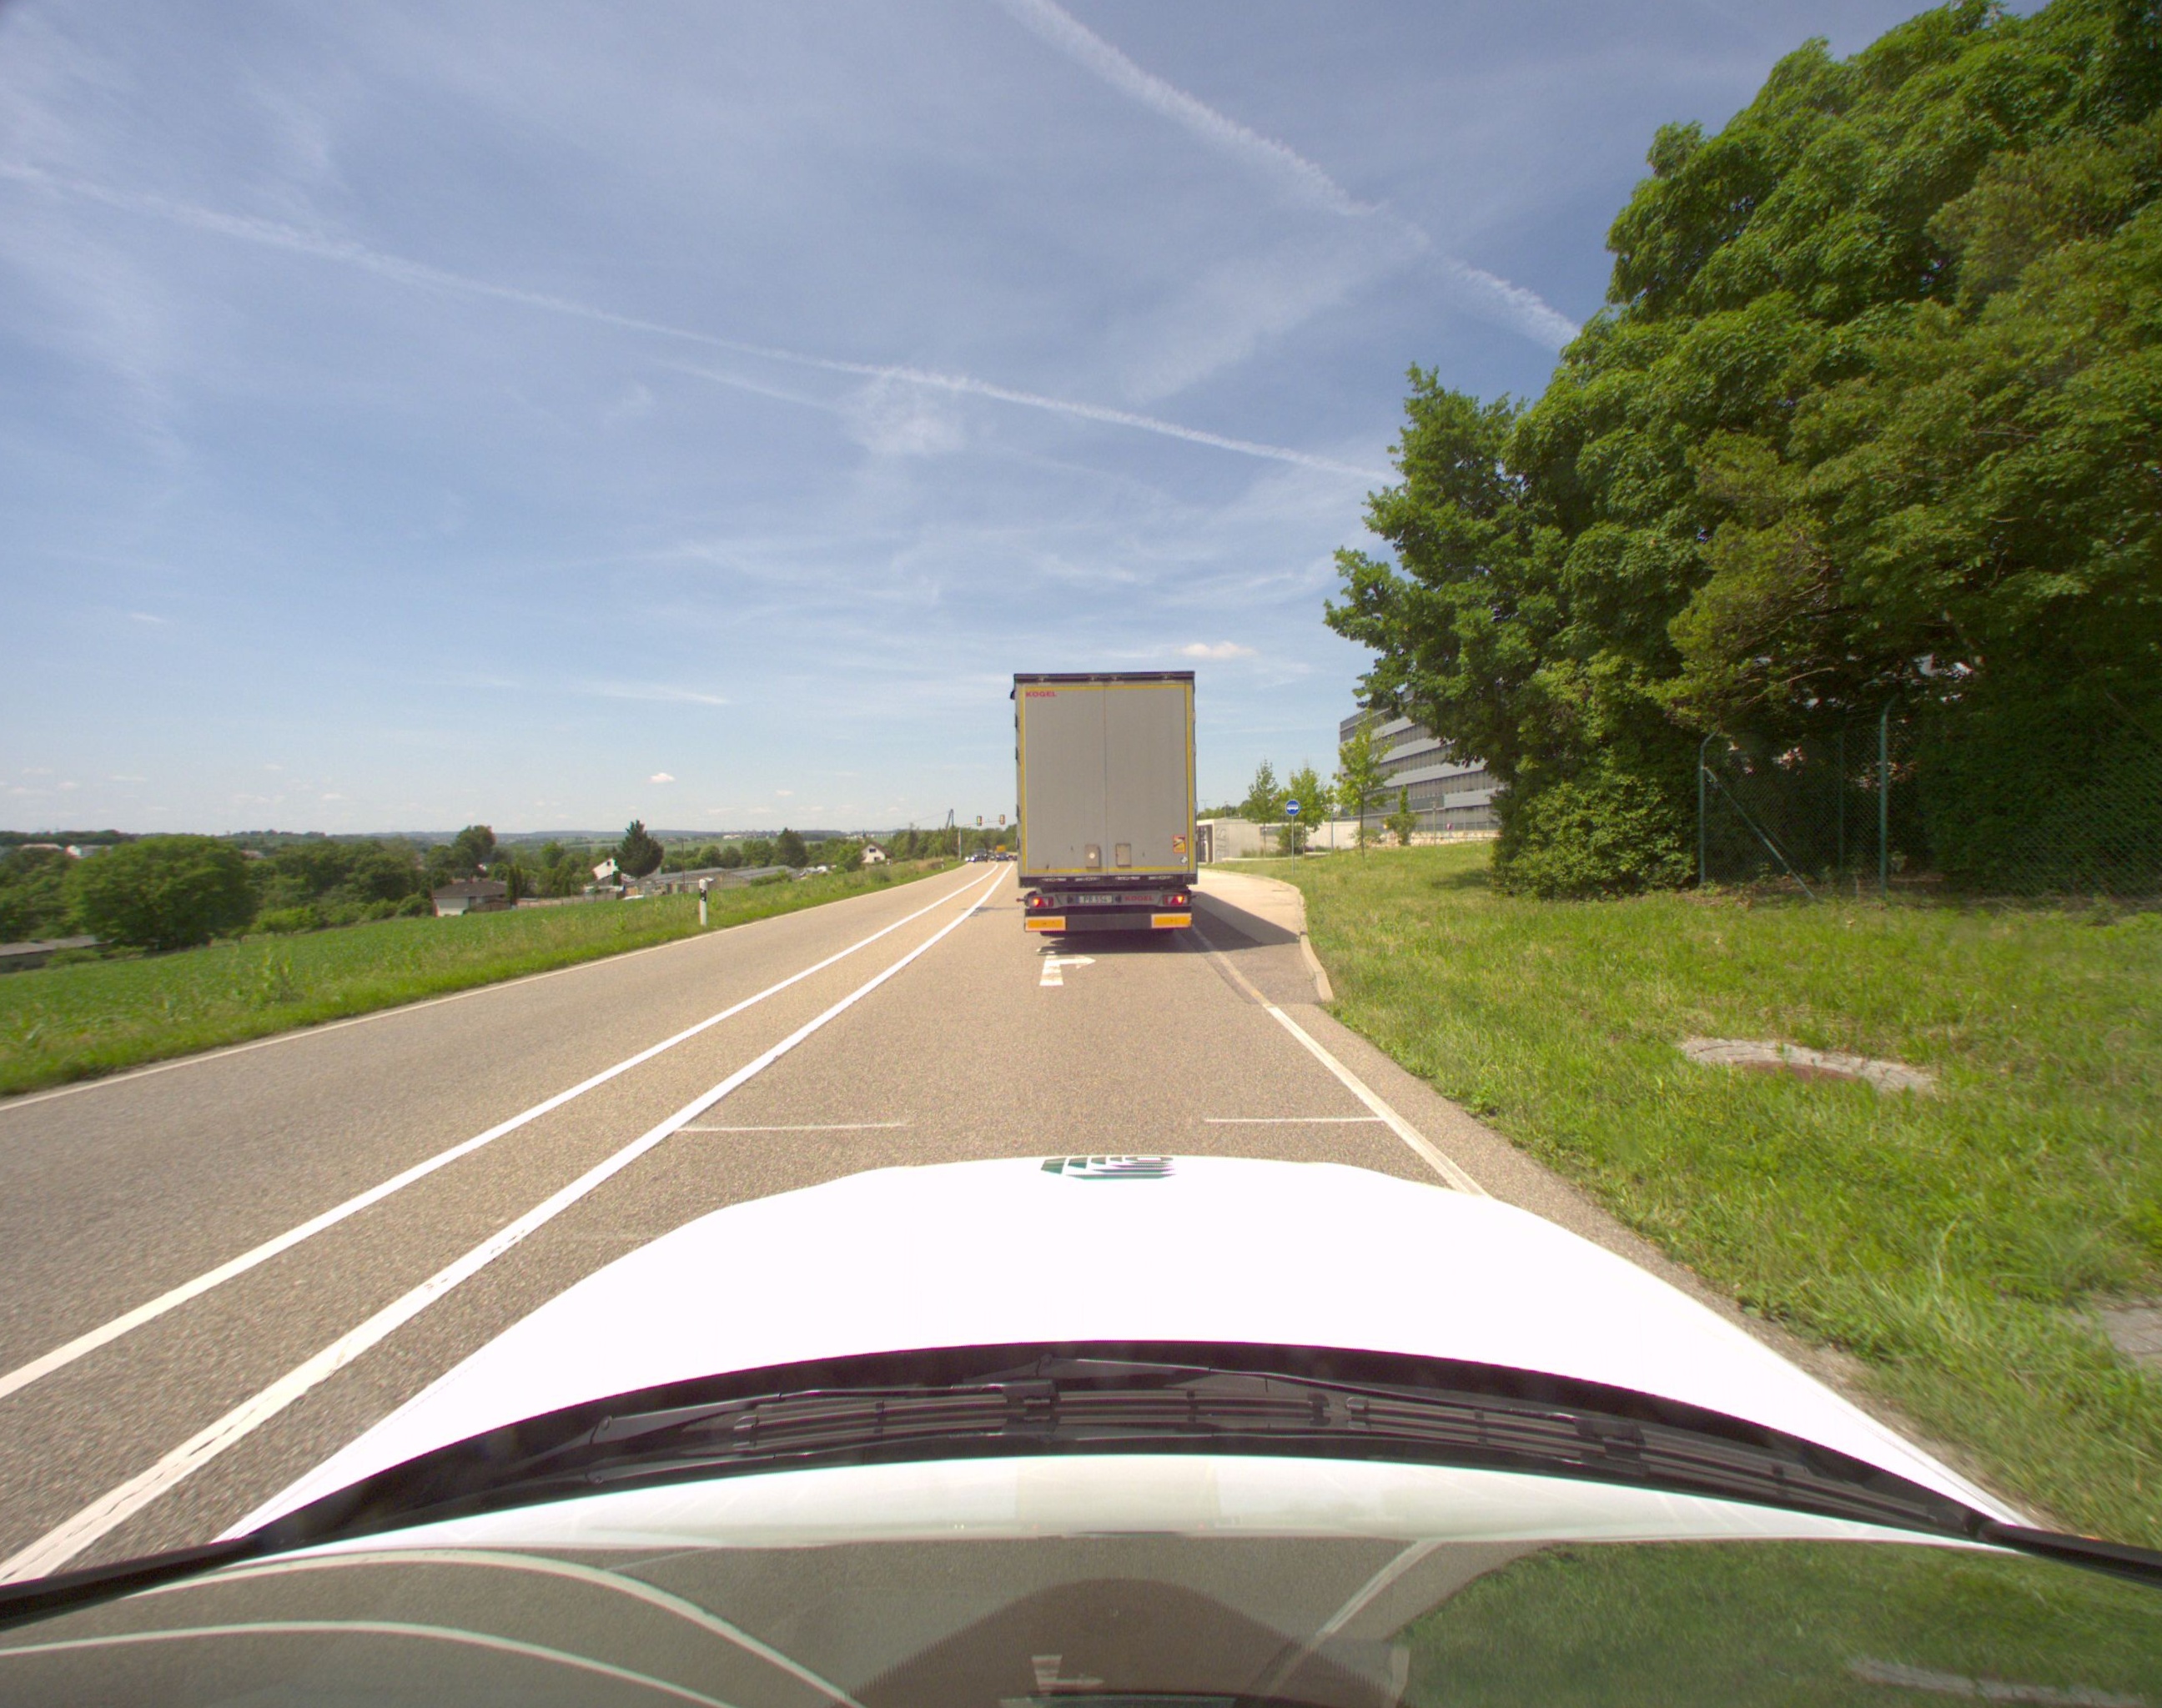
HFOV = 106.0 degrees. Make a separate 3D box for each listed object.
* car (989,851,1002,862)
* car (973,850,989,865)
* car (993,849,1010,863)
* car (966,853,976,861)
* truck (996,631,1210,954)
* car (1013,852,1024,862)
[{"bbox_3d":[-15.402,0.431,147.105,1.990,1.815,4.290,-4,1,-4],"label":"car"},{"bbox_3d":[-14.251,0.436,116.309,1.990,1.978,5.271,-3,1,-4],"label":"car"},{"bbox_3d":[-11.390,0.278,116.754,1.989,1.949,4.498,-3,0,-3],"label":"car"},{"bbox_3d":[-24.666,0.620,182.738,1.992,1.787,3.990,-3,0,-7],"label":"car"},{"bbox_3d":[0.325,-0.889,15.628,2.898,4.409,8.859,-1,0,0],"label":"truck"},{"bbox_3d":[-13.959,0.729,181.919,2.166,2.013,4.523,-3,0,-2],"label":"car"}]
